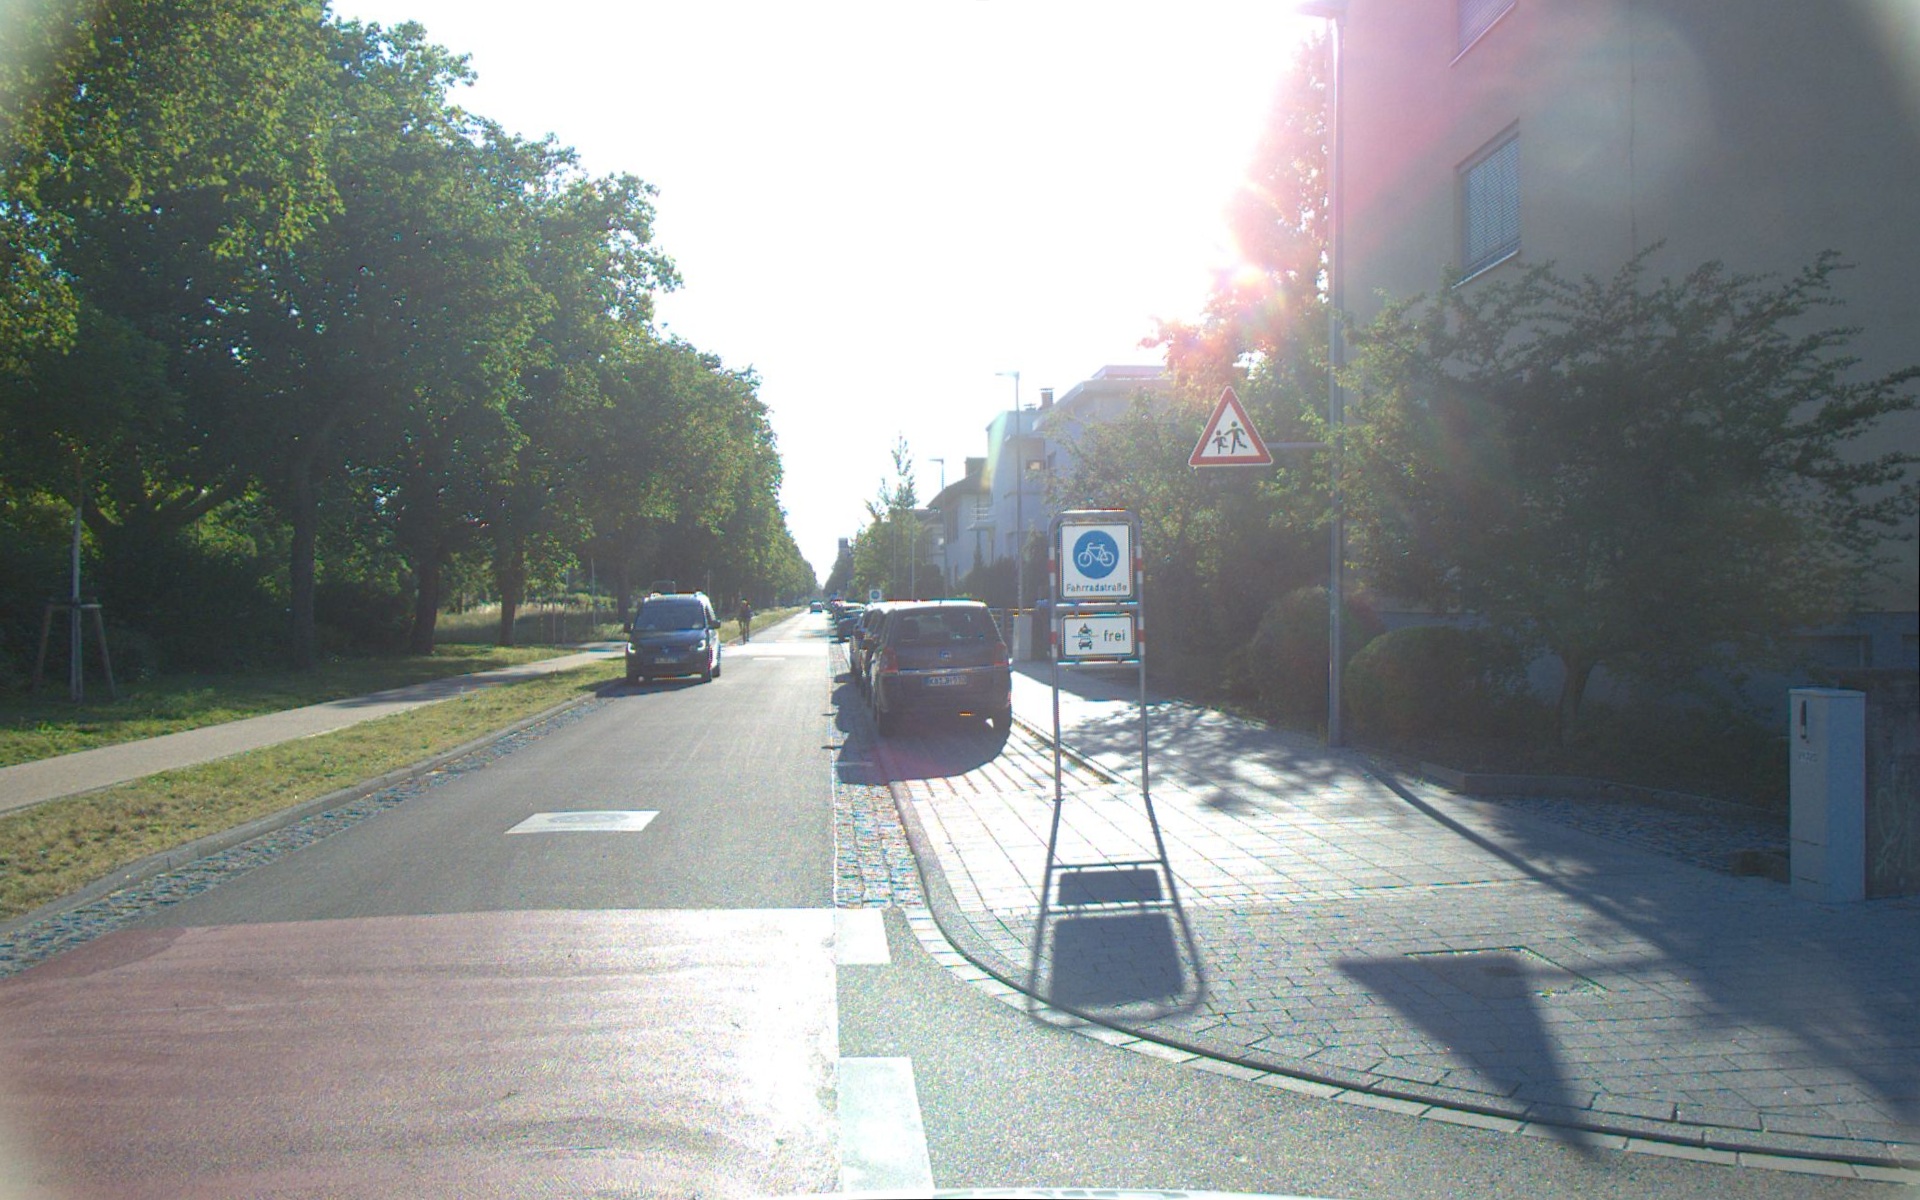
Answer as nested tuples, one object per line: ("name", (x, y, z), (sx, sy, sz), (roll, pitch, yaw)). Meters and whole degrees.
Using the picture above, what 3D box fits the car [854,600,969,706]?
("car", (-0.886, 0.833, 27.773), (1.646, 1.583, 4.140), (-2, 0, -5))

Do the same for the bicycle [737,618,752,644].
("bicycle", (-9.093, 1.306, 69.773), (0.545, 1.050, 1.912), (-1, -1, -5))

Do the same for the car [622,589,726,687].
("car", (-6.038, 0.787, 35.341), (1.808, 1.880, 4.567), (-2, -1, -6))

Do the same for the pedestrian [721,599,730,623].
("pedestrian", (-17.847, 0.846, 125.805), (0.611, 1.863, 0.886), (0, 0, -1))

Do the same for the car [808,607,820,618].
("car", (-20.713, 1.773, 235.125), (1.619, 1.568, 3.263), (1, -1, -5))

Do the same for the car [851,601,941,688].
("car", (-1.335, 0.850, 33.299), (1.645, 1.583, 4.127), (-2, 0, -4))

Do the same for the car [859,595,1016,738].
("car", (-0.398, 0.805, 22.083), (1.677, 1.639, 4.163), (-3, 0, -6))

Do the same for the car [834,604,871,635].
("car", (-5.660, 1.006, 86.862), (1.711, 1.500, 3.917), (-3, 0, -6))

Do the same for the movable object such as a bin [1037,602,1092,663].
("movable object such as a bin", (2.530, 0.791, 40.165), (1.212, 1.457, 1.122), (0, -1, -3))

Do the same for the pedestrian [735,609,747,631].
("pedestrian", (-16.704, 1.540, 126.015), (0.767, 1.643, 0.951), (0, 0, -1))

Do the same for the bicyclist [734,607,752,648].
("bicyclist", (-9.131, 1.168, 69.633), (0.668, 1.702, 1.171), (-1, -1, -5))

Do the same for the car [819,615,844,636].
("car", (-9.555, 1.876, 122.983), (1.703, 1.474, 4.191), (-2, -1, -6))

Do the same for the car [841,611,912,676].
("car", (-2.039, 0.995, 39.392), (1.533, 1.414, 4.370), (-2, 0, -4))

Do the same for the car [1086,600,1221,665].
("car", (5.041, 0.854, 43.429), (3.420, 1.670, 1.644), (0, -1, 3))

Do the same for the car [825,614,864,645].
("car", (-5.273, 1.319, 75.458), (1.740, 1.311, 4.268), (0, 0, -4))
